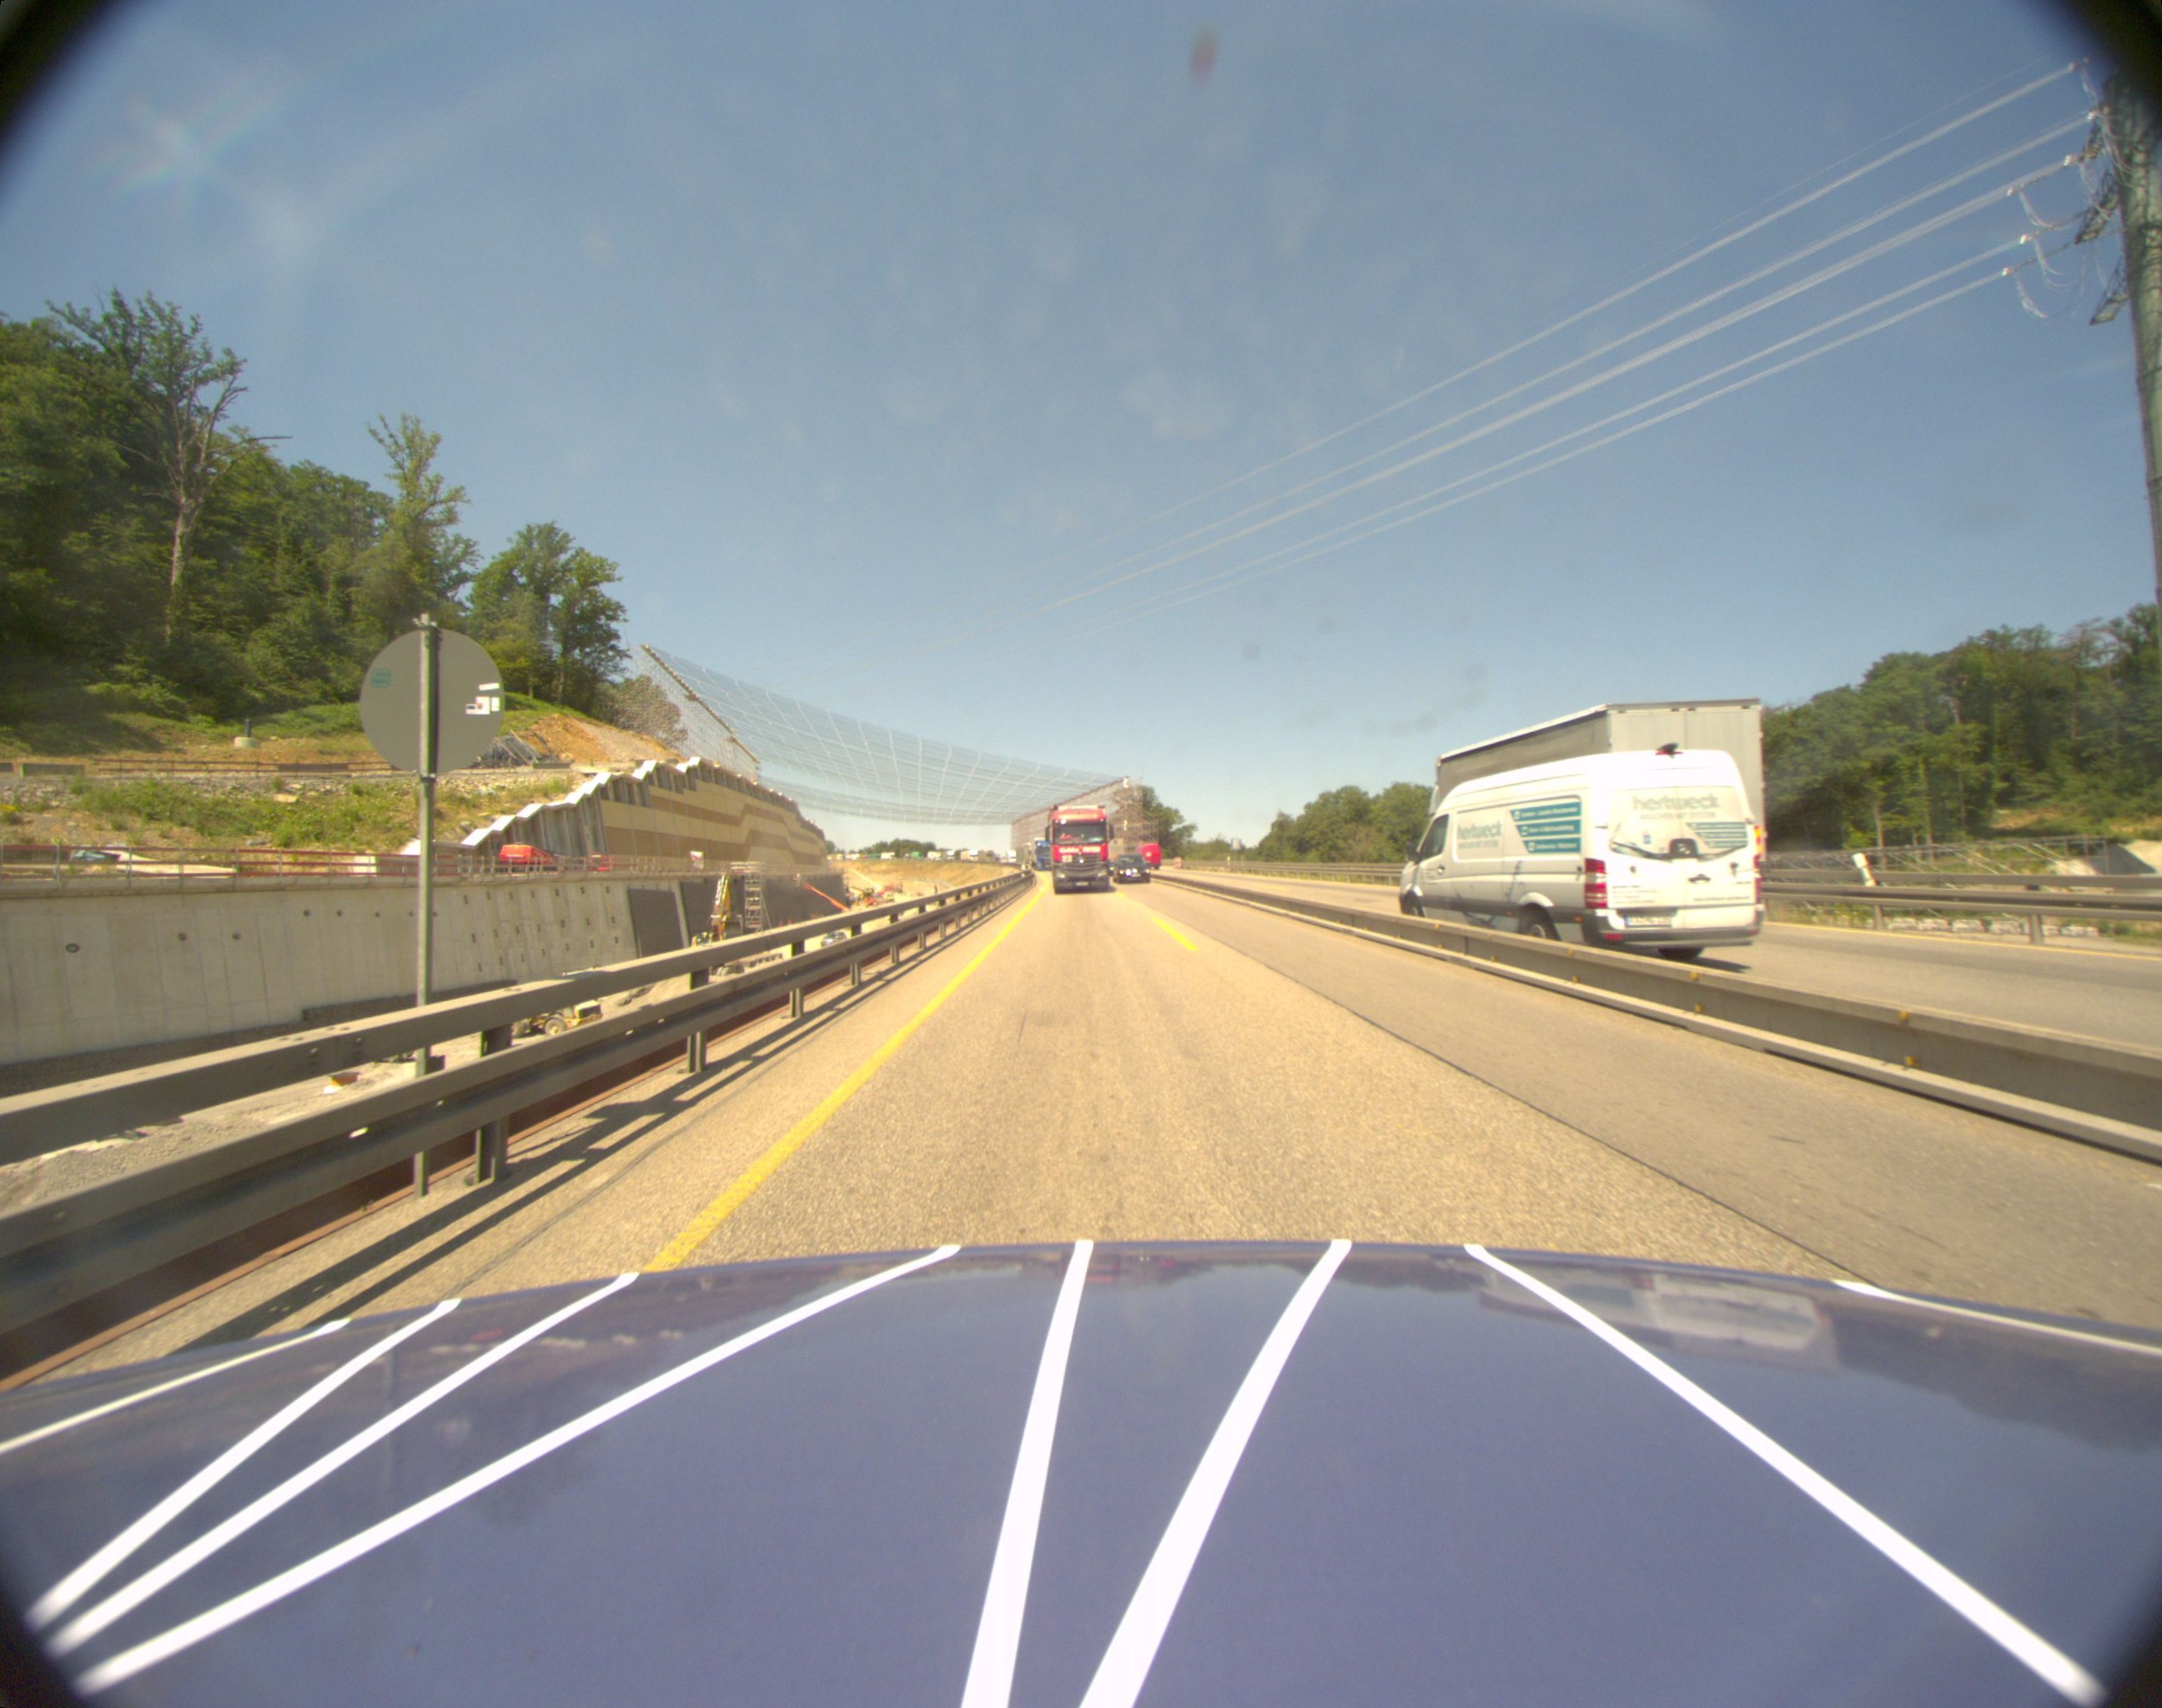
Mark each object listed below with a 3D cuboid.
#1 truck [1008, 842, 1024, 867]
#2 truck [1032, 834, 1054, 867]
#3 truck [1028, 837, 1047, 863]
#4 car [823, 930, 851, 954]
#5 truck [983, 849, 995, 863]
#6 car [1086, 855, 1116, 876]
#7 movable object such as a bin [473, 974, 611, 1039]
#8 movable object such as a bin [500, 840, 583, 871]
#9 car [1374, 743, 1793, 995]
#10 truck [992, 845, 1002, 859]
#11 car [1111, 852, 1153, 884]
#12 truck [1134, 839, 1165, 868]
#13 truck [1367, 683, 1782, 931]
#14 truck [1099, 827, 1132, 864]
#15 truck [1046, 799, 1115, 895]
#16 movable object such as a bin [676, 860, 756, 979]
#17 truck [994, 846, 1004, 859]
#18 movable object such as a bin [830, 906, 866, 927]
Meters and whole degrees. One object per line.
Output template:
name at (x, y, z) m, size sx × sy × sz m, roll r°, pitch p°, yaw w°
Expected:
truck at (-13.341, 0.023, 155.198) m, size 3.042 × 4.777 × 8.936 m, roll -2°, pitch 1°, yaw -5°
truck at (-4.995, -0.466, 99.937) m, size 2.672 × 3.986 × 10.425 m, roll -2°, pitch 1°, yaw -3°
truck at (-7.437, -0.735, 128.605) m, size 2.910 × 4.207 × 9.236 m, roll -2°, pitch 1°, yaw -4°
car at (-26.424, 9.549, 82.292) m, size 1.999 × 2.002 × 3.997 m, roll -2°, pitch 1°, yaw -6°
truck at (-27.051, 0.577, 223.610) m, size 3.042 × 4.033 × 8.670 m, roll -2°, pitch 1°, yaw -5°
car at (1.578, 0.918, 61.581) m, size 1.896 × 1.546 × 4.784 m, roll -2°, pitch -1°, yaw -4°
movable object such as a bin at (-26.034, 7.368, 36.821) m, size 5.118 × 2.577 × 2.060 m, roll -2°, pitch 0°, yaw 1°
movable object such as a bin at (-38.546, 0.058, 54.458) m, size 2.081 × 2.002 × 5.353 m, roll -2°, pitch 1°, yaw -1°
car at (6.712, 0.129, 11.520) m, size 1.975 × 2.664 × 6.660 m, roll -2°, pitch 1°, yaw 1°
truck at (-26.730, -0.608, 241.958) m, size 2.984 × 4.140 × 8.937 m, roll -2°, pitch 1°, yaw -5°
car at (2.951, 0.794, 44.783) m, size 1.861 × 1.695 × 5.303 m, roll -2°, pitch -1°, yaw -2°
truck at (7.300, -0.087, 82.180) m, size 2.211 × 2.847 × 6.496 m, roll -2°, pitch 1°, yaw -4°
truck at (10.160, -0.834, 17.828) m, size 2.807 × 3.977 × 10.551 m, roll -2°, pitch 1°, yaw 0°
truck at (4.985, -1.235, 112.201) m, size 3.220 × 4.982 × 11.257 m, roll -2°, pitch 1°, yaw -5°
truck at (-0.073, -0.359, 37.474) m, size 2.798 × 3.986 × 10.427 m, roll -2°, pitch 1°, yaw -1°
movable object such as a bin at (-24.477, 4.182, 51.360) m, size 2.935 × 7.311 × 6.234 m, roll -3°, pitch 1°, yaw -10°
truck at (-27.309, -0.552, 252.131) m, size 3.043 × 4.236 × 8.935 m, roll -2°, pitch 1°, yaw -7°
movable object such as a bin at (-33.843, 9.038, 110.296) m, size 5.485 × 2.621 × 2.224 m, roll -2°, pitch 1°, yaw 38°
